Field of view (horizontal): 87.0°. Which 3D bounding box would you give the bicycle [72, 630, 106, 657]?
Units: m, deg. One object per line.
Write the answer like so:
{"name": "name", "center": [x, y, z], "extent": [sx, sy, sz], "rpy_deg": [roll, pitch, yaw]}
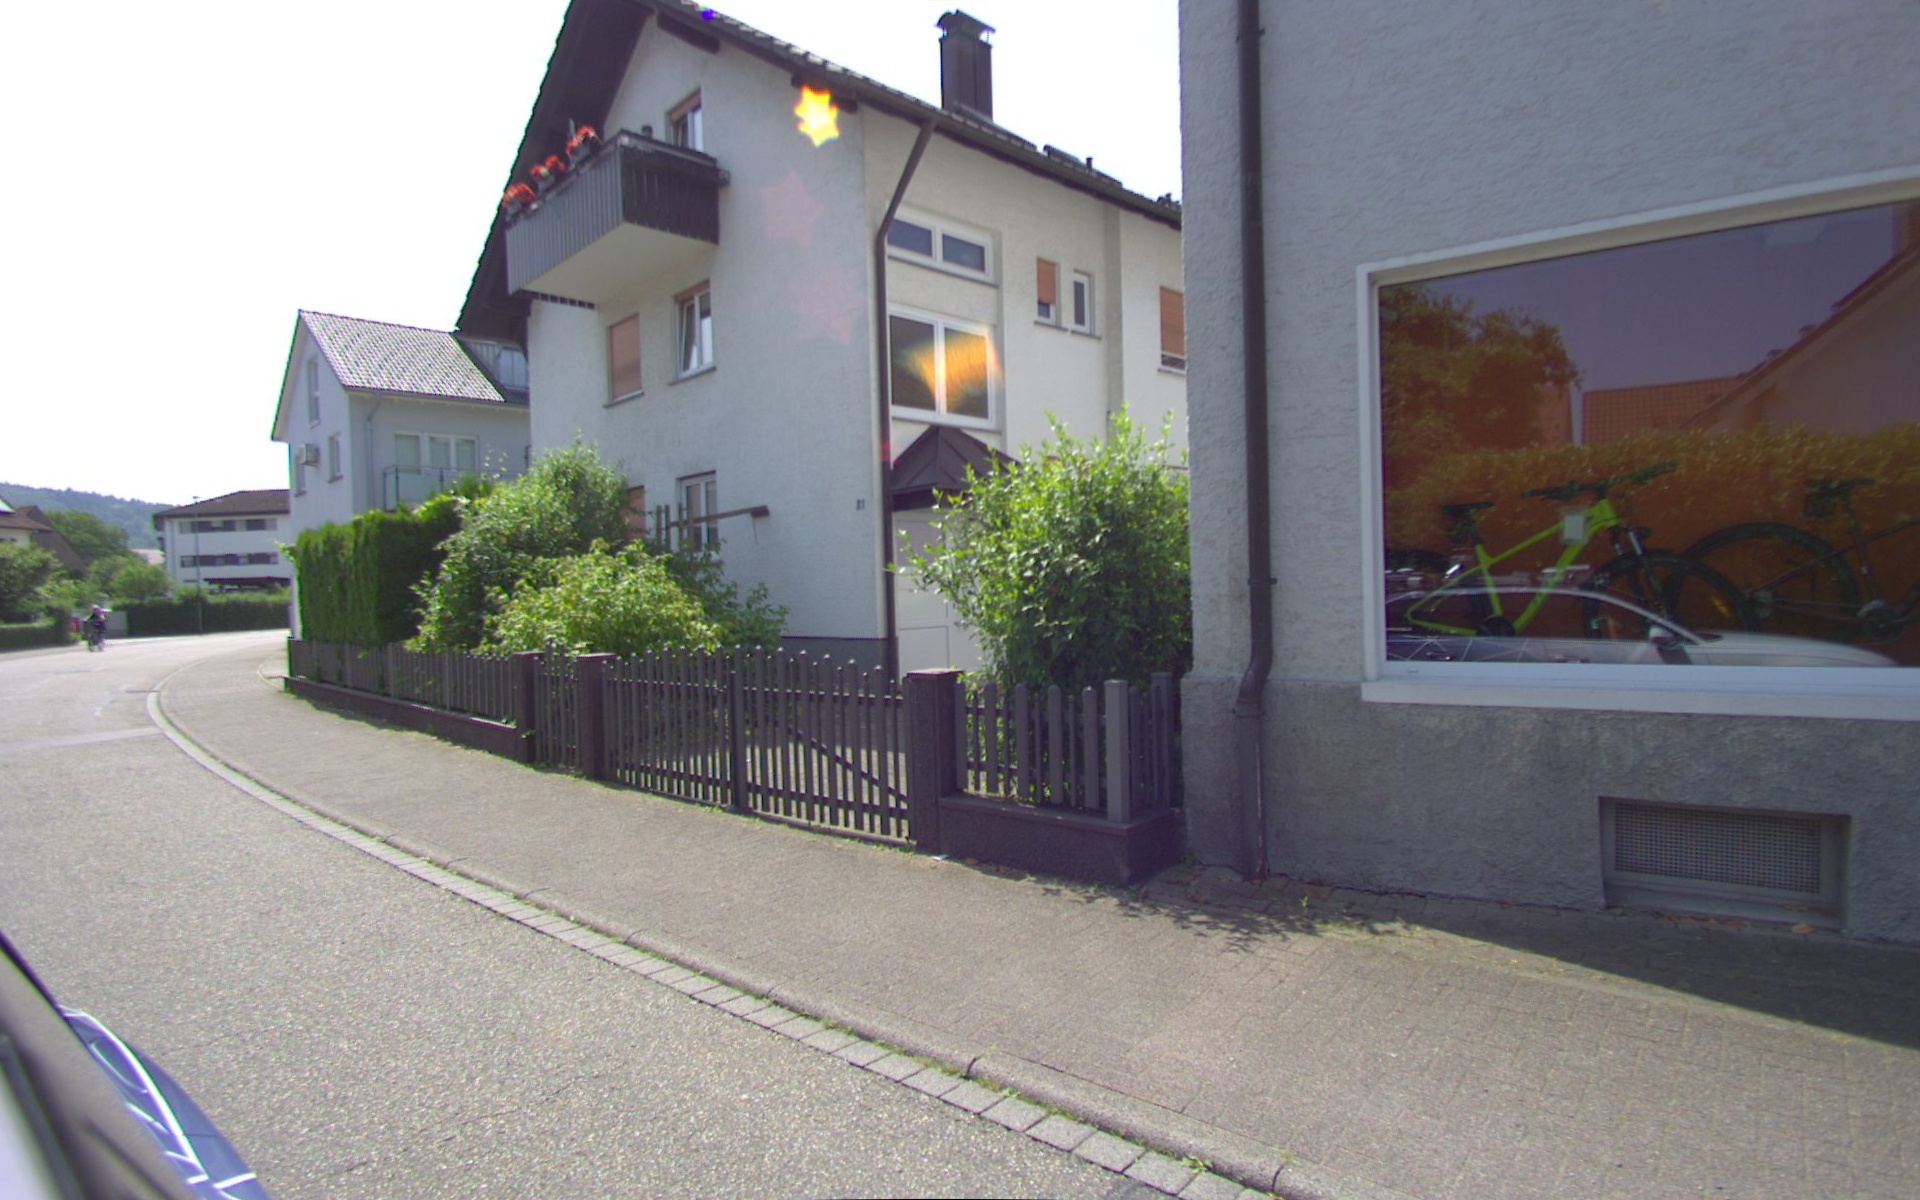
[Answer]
{"name": "bicycle", "center": [-31.991, 1.601, 37.198], "extent": [0.513, 0.911, 1.317], "rpy_deg": [-1, 0, -21]}

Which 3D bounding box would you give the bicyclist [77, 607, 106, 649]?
{"name": "bicyclist", "center": [-32.068, 1.030, 37.364], "extent": [0.538, 1.501, 0.799], "rpy_deg": [-1, 0, -21]}
